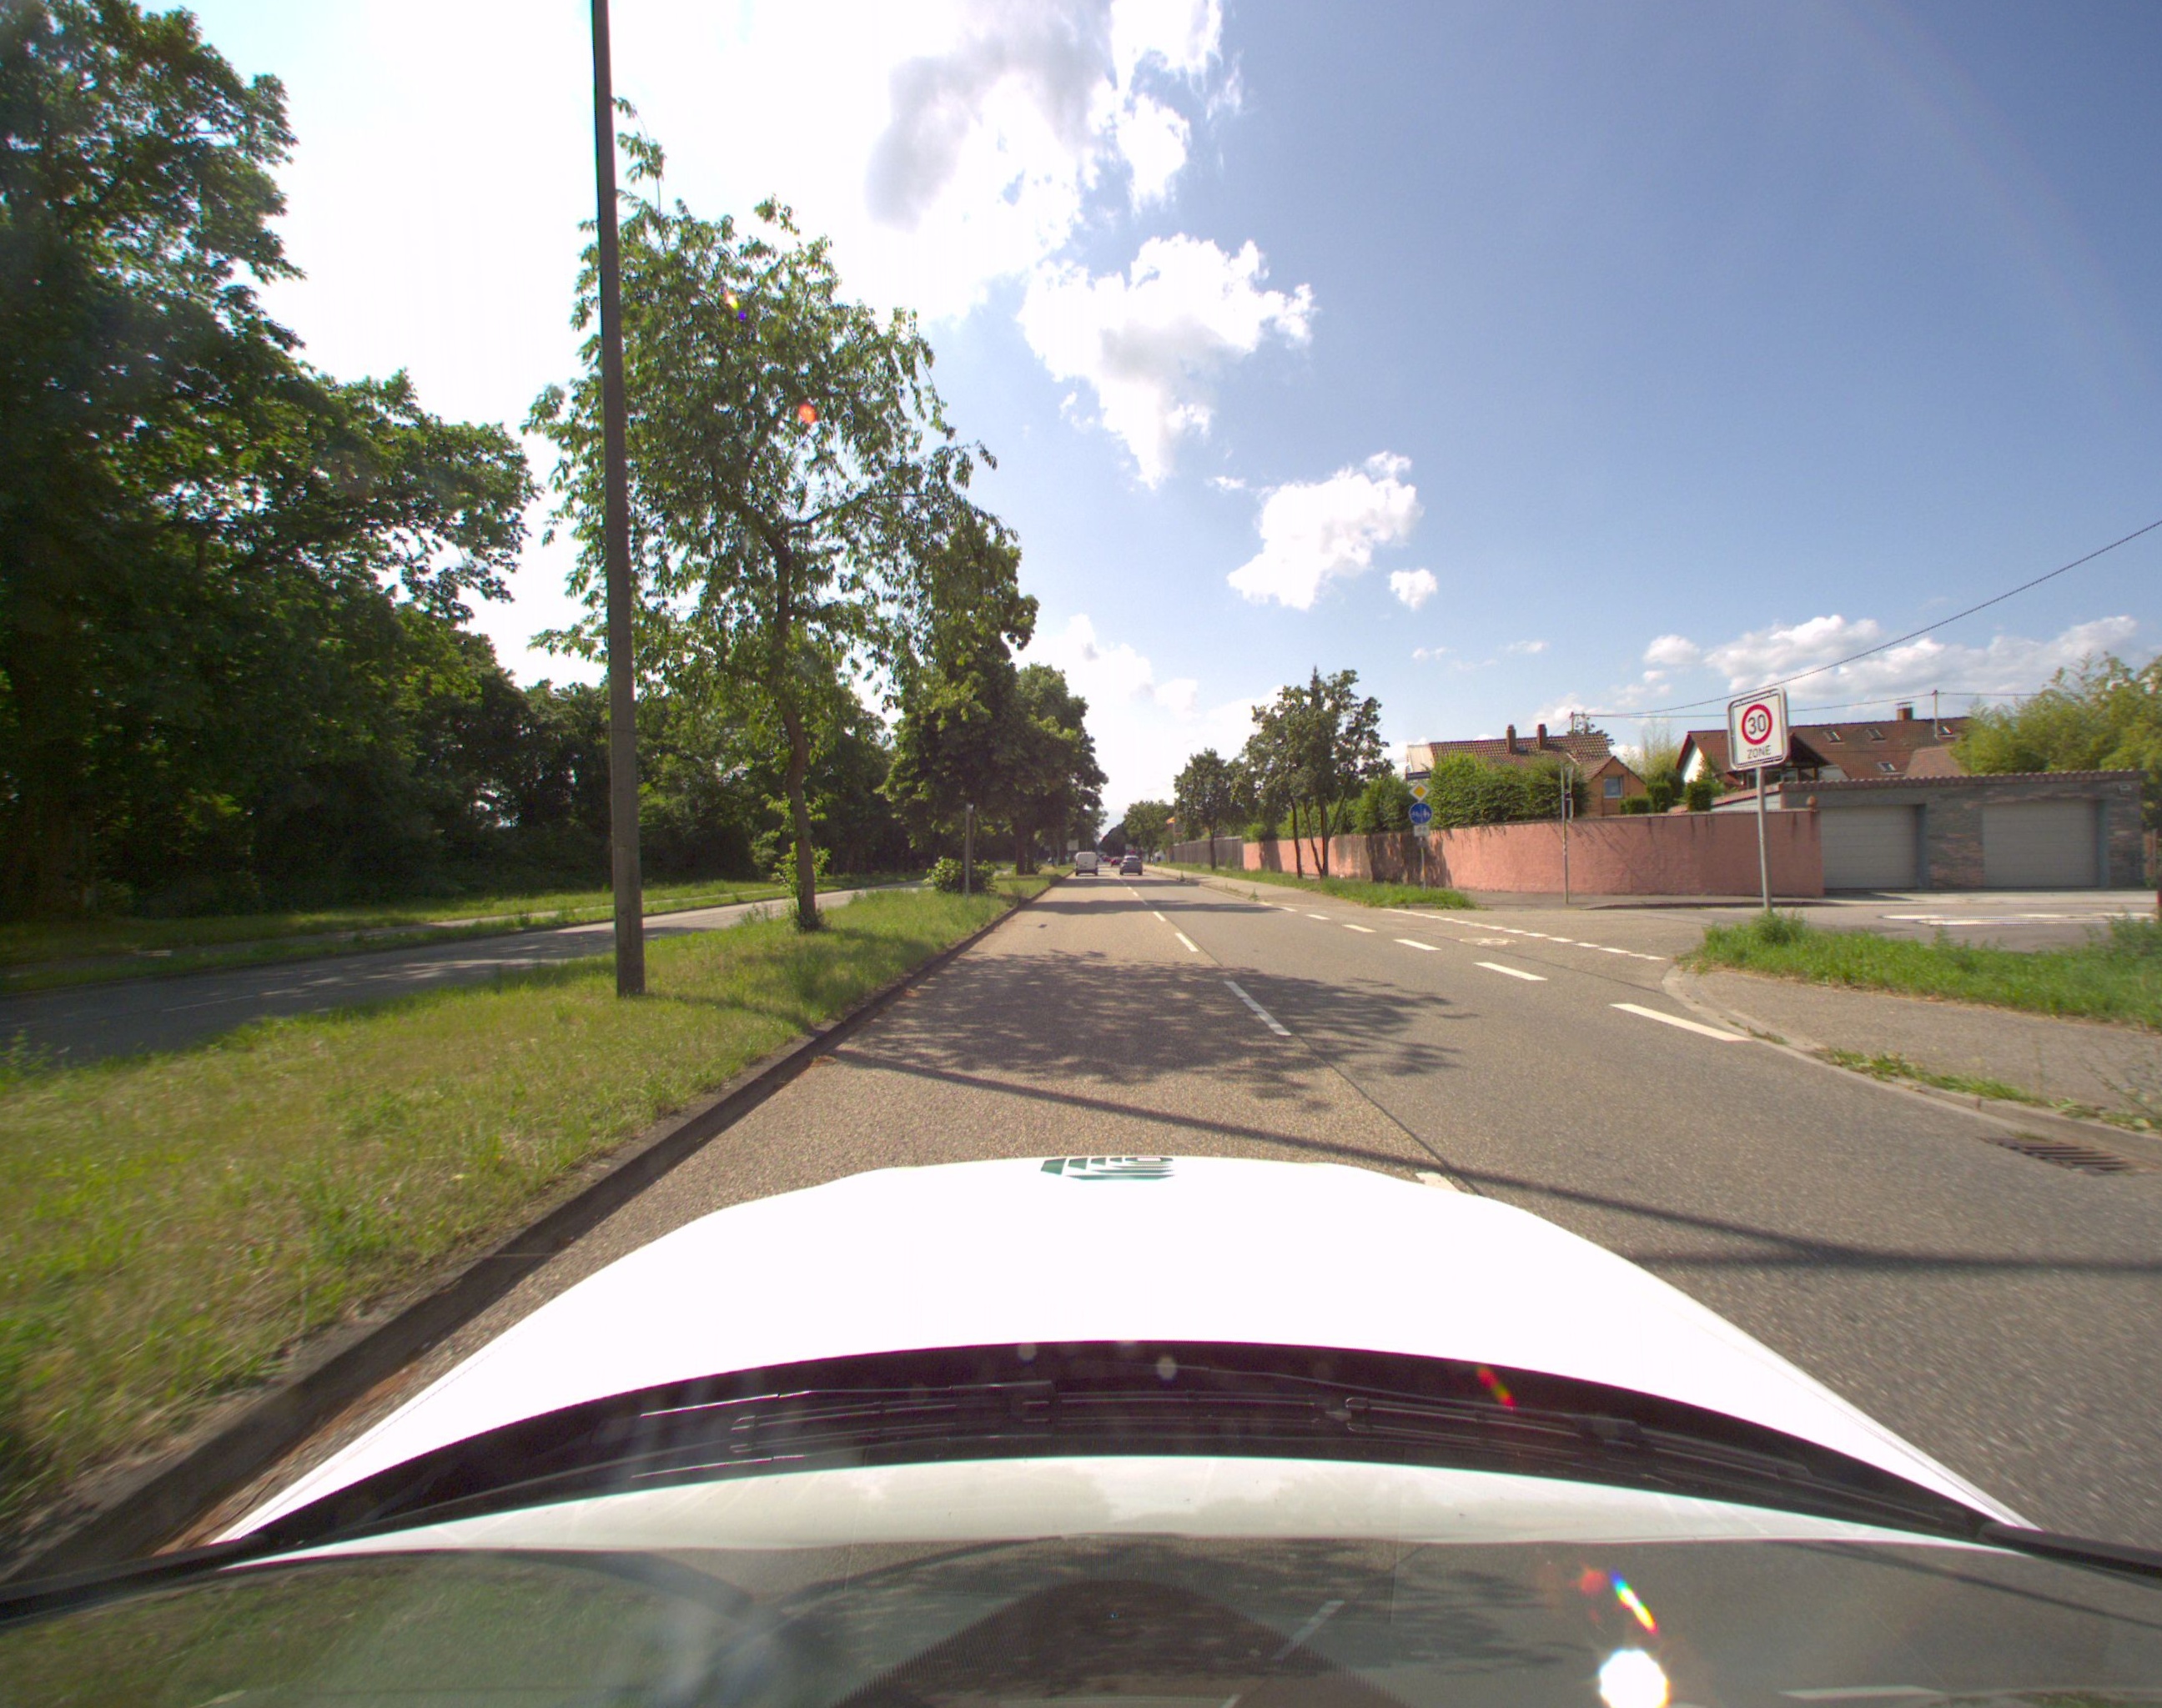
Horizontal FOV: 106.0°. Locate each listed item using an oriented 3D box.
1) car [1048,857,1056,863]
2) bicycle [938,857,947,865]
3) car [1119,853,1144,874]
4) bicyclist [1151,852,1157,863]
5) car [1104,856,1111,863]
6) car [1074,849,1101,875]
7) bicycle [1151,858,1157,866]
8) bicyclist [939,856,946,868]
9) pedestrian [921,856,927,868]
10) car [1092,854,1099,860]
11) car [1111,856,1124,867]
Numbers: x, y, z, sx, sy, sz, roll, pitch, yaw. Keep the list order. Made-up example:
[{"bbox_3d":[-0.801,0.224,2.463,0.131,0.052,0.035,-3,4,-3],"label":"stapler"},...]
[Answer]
[{"bbox_3d":[-8.279,1.753,231.171,1.986,1.705,4.194,-1,0,1],"label":"car"},{"bbox_3d":[-16.643,0.865,97.855,0.615,0.878,1.917,-1,0,4],"label":"bicycle"},{"bbox_3d":[4.044,0.770,66.287,1.868,1.589,4.185,-1,0,1],"label":"car"},{"bbox_3d":[9.155,0.427,102.639,0.652,1.412,0.987,-4,0,2],"label":"bicyclist"},{"bbox_3d":[7.264,1.429,221.396,1.986,1.772,4.148,0,0,1],"label":"car"},{"bbox_3d":[0.532,0.613,65.396,2.058,1.912,4.647,-1,0,1],"label":"car"},{"bbox_3d":[9.186,1.005,102.707,0.643,1.067,2.279,-4,0,2],"label":"bicycle"},{"bbox_3d":[-16.637,0.919,97.965,0.615,1.448,0.730,-1,0,4],"label":"bicyclist"},{"bbox_3d":[-22.236,1.147,115.122,0.641,1.630,0.656,0,0,2],"label":"pedestrian"},{"bbox_3d":[4.015,0.796,225.120,1.934,1.768,4.147,-1,0,1],"label":"car"},{"bbox_3d":[5.688,1.203,127.133,1.873,1.587,4.001,-1,0,1],"label":"car"}]
